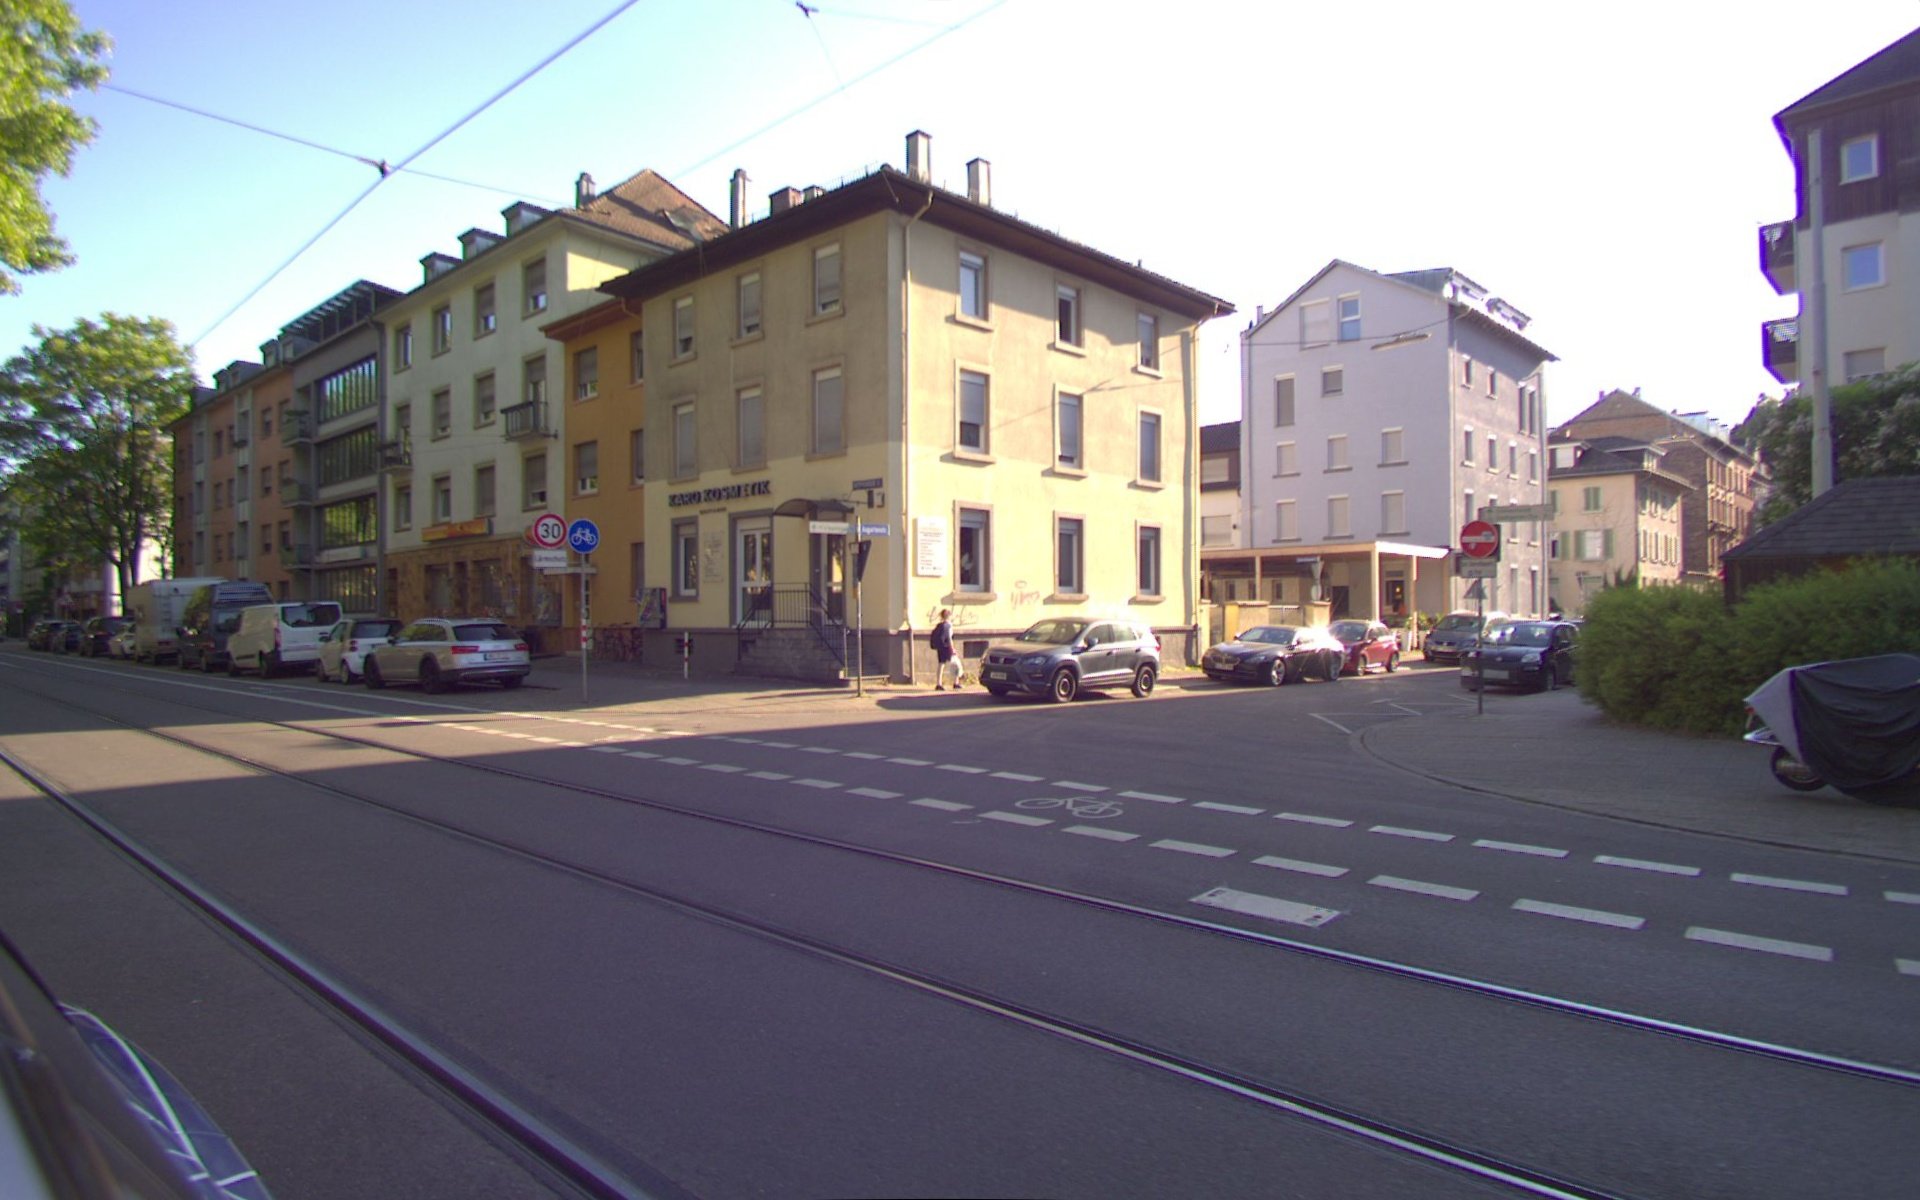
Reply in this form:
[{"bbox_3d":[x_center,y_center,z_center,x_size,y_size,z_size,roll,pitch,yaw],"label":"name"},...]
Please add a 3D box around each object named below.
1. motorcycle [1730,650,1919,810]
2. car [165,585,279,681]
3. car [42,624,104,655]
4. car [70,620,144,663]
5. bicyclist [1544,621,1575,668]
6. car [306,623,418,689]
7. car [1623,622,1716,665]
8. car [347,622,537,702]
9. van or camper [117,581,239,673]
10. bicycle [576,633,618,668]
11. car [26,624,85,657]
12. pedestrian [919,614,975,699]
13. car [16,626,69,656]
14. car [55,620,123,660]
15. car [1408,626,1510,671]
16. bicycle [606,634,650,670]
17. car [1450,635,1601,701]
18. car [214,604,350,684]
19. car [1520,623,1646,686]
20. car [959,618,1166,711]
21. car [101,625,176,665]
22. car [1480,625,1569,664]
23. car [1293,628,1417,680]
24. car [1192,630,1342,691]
[{"bbox_3d":[7.348,0.982,7.792,2.150,1.148,0.665,-4,-1,44],"label":"motorcycle"},{"bbox_3d":[-23.682,1.019,32.423,4.544,2.767,1.903,-2,2,42],"label":"car"},{"bbox_3d":[-45.137,2.003,51.479,4.431,1.482,1.768,-1,-1,40],"label":"car"},{"bbox_3d":[-37.717,1.806,44.710,4.431,1.767,1.768,-1,-1,40],"label":"car"},{"bbox_3d":[18.560,1.366,31.309,0.647,1.445,0.794,-2,-3,43],"label":"bicyclist"},{"bbox_3d":[-14.659,1.324,24.755,2.881,1.504,1.554,-2,-1,41],"label":"car"},{"bbox_3d":[23.239,1.394,33.090,1.882,1.318,4.016,-2,-2,44],"label":"car"},{"bbox_3d":[-11.149,1.249,21.615,4.935,1.504,1.754,-1,-1,39],"label":"car"},{"bbox_3d":[-28.646,0.960,37.003,5.989,2.999,2.392,-2,2,42],"label":"van or camper"},{"bbox_3d":[-10.210,1.411,28.417,1.646,0.935,0.357,-2,-2,42],"label":"bicycle"},{"bbox_3d":[-48.682,2.166,54.432,4.431,1.682,1.768,-1,-1,40],"label":"car"},{"bbox_3d":[-0.258,1.098,20.094,0.764,1.599,0.754,1,1,-44],"label":"pedestrian"},{"bbox_3d":[-53.012,2.332,58.468,4.095,1.607,1.768,-1,-1,40],"label":"car"},{"bbox_3d":[-41.592,1.890,48.303,4.431,1.767,1.768,-1,-1,40],"label":"car"},{"bbox_3d":[17.117,1.614,34.618,1.967,1.434,4.016,-2,-2,44],"label":"car"},{"bbox_3d":[-8.955,1.384,27.285,1.646,0.935,0.357,-2,-2,42],"label":"bicycle"},{"bbox_3d":[12.319,1.399,21.939,1.882,1.263,4.016,-2,-2,44],"label":"car"},{"bbox_3d":[-19.174,1.195,28.532,4.937,2.062,1.903,-1,-1,40],"label":"car"},{"bbox_3d":[15.705,1.319,25.431,1.882,1.461,4.016,-2,-2,44],"label":"car"},{"bbox_3d":[2.083,1.196,19.849,1.967,1.630,4.016,-2,-2,44],"label":"car"},{"bbox_3d":[-33.432,1.811,41.169,3.470,1.526,1.768,-1,-1,40],"label":"car"},{"bbox_3d":[21.643,1.669,38.749,1.967,1.434,4.016,-2,-2,44],"label":"car"},{"bbox_3d":[11.571,1.523,29.533,1.967,1.399,4.016,-2,-2,44],"label":"car"},{"bbox_3d":[7.714,1.451,25.256,1.967,1.400,4.016,-2,-2,44],"label":"car"}]
